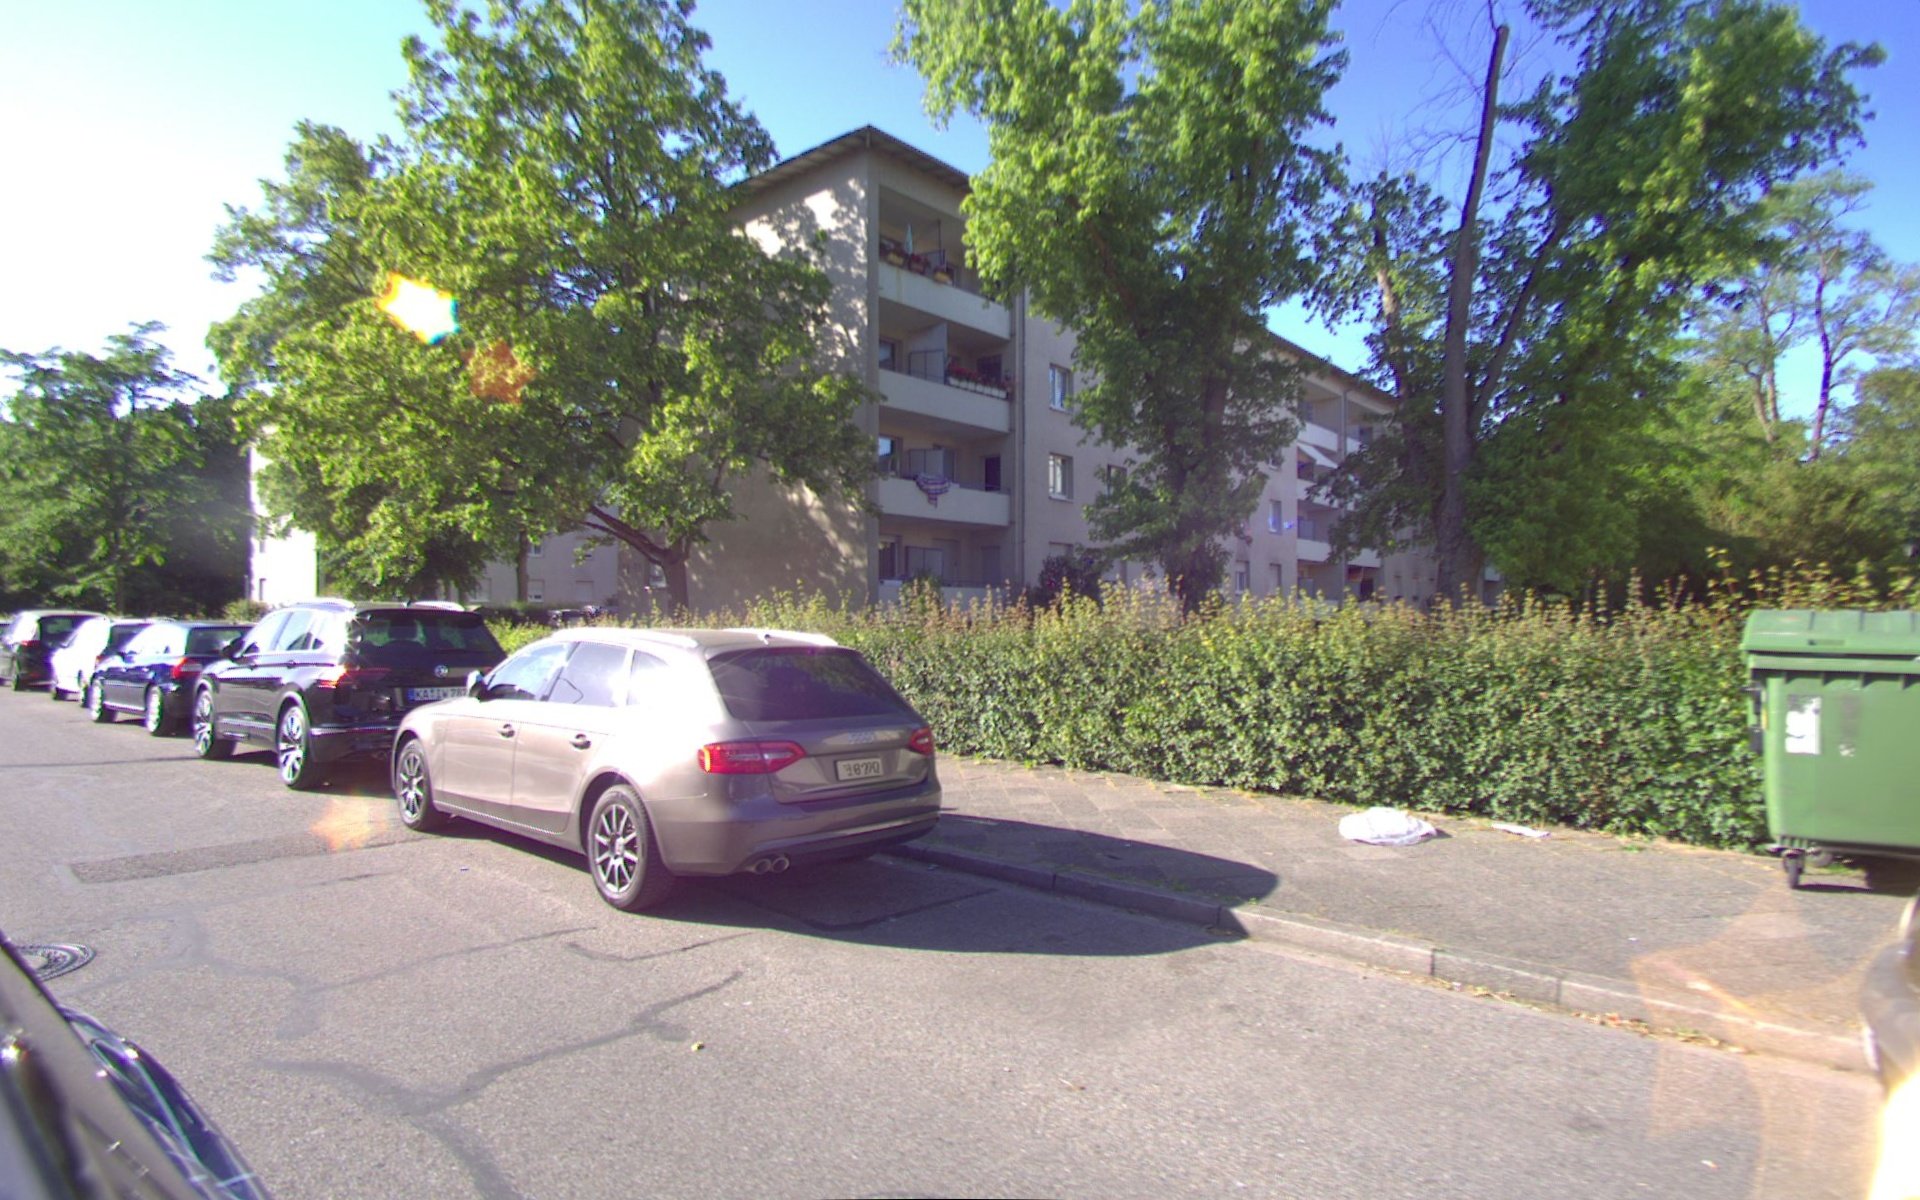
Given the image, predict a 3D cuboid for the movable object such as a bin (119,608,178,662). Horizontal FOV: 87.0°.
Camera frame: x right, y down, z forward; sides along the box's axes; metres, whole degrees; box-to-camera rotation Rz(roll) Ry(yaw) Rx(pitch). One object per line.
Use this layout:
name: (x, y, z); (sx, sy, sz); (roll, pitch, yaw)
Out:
movable object such as a bin: (-22.566, 0.955, 28.142); (1.188, 1.425, 0.967); (-1, 2, 37)

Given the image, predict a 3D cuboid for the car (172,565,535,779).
car: (-6.152, 0.615, 10.051); (4.386, 1.681, 1.736); (-1, -2, 40)

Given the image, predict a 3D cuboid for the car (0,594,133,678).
car: (-19.335, 0.742, 21.531); (4.427, 1.618, 1.788); (-1, -2, 39)

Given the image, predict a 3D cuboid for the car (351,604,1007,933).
car: (-2.083, 0.760, 6.544); (4.671, 1.396, 1.736); (0, -2, 40)

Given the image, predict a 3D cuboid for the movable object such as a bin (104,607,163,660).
movable object such as a bin: (-23.614, 0.932, 28.915); (1.262, 1.425, 0.995); (-1, 2, 37)

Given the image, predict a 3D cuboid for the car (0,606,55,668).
car: (-24.709, 0.912, 25.771); (3.935, 1.490, 1.789); (-1, -2, 38)

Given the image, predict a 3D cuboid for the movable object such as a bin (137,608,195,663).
movable object such as a bin: (-21.506, 0.939, 27.404); (1.262, 1.425, 0.886); (-1, 2, 37)

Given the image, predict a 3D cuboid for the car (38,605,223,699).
car: (-14.550, 0.853, 17.672); (4.147, 1.448, 1.736); (-1, -2, 40)

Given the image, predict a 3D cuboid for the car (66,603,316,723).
car: (-10.488, 0.775, 13.699); (4.164, 1.396, 1.622); (-1, -2, 37)

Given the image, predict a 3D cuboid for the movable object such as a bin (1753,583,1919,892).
movable object such as a bin: (4.812, 0.641, 5.051); (1.325, 1.425, 0.886); (-1, 2, 39)
